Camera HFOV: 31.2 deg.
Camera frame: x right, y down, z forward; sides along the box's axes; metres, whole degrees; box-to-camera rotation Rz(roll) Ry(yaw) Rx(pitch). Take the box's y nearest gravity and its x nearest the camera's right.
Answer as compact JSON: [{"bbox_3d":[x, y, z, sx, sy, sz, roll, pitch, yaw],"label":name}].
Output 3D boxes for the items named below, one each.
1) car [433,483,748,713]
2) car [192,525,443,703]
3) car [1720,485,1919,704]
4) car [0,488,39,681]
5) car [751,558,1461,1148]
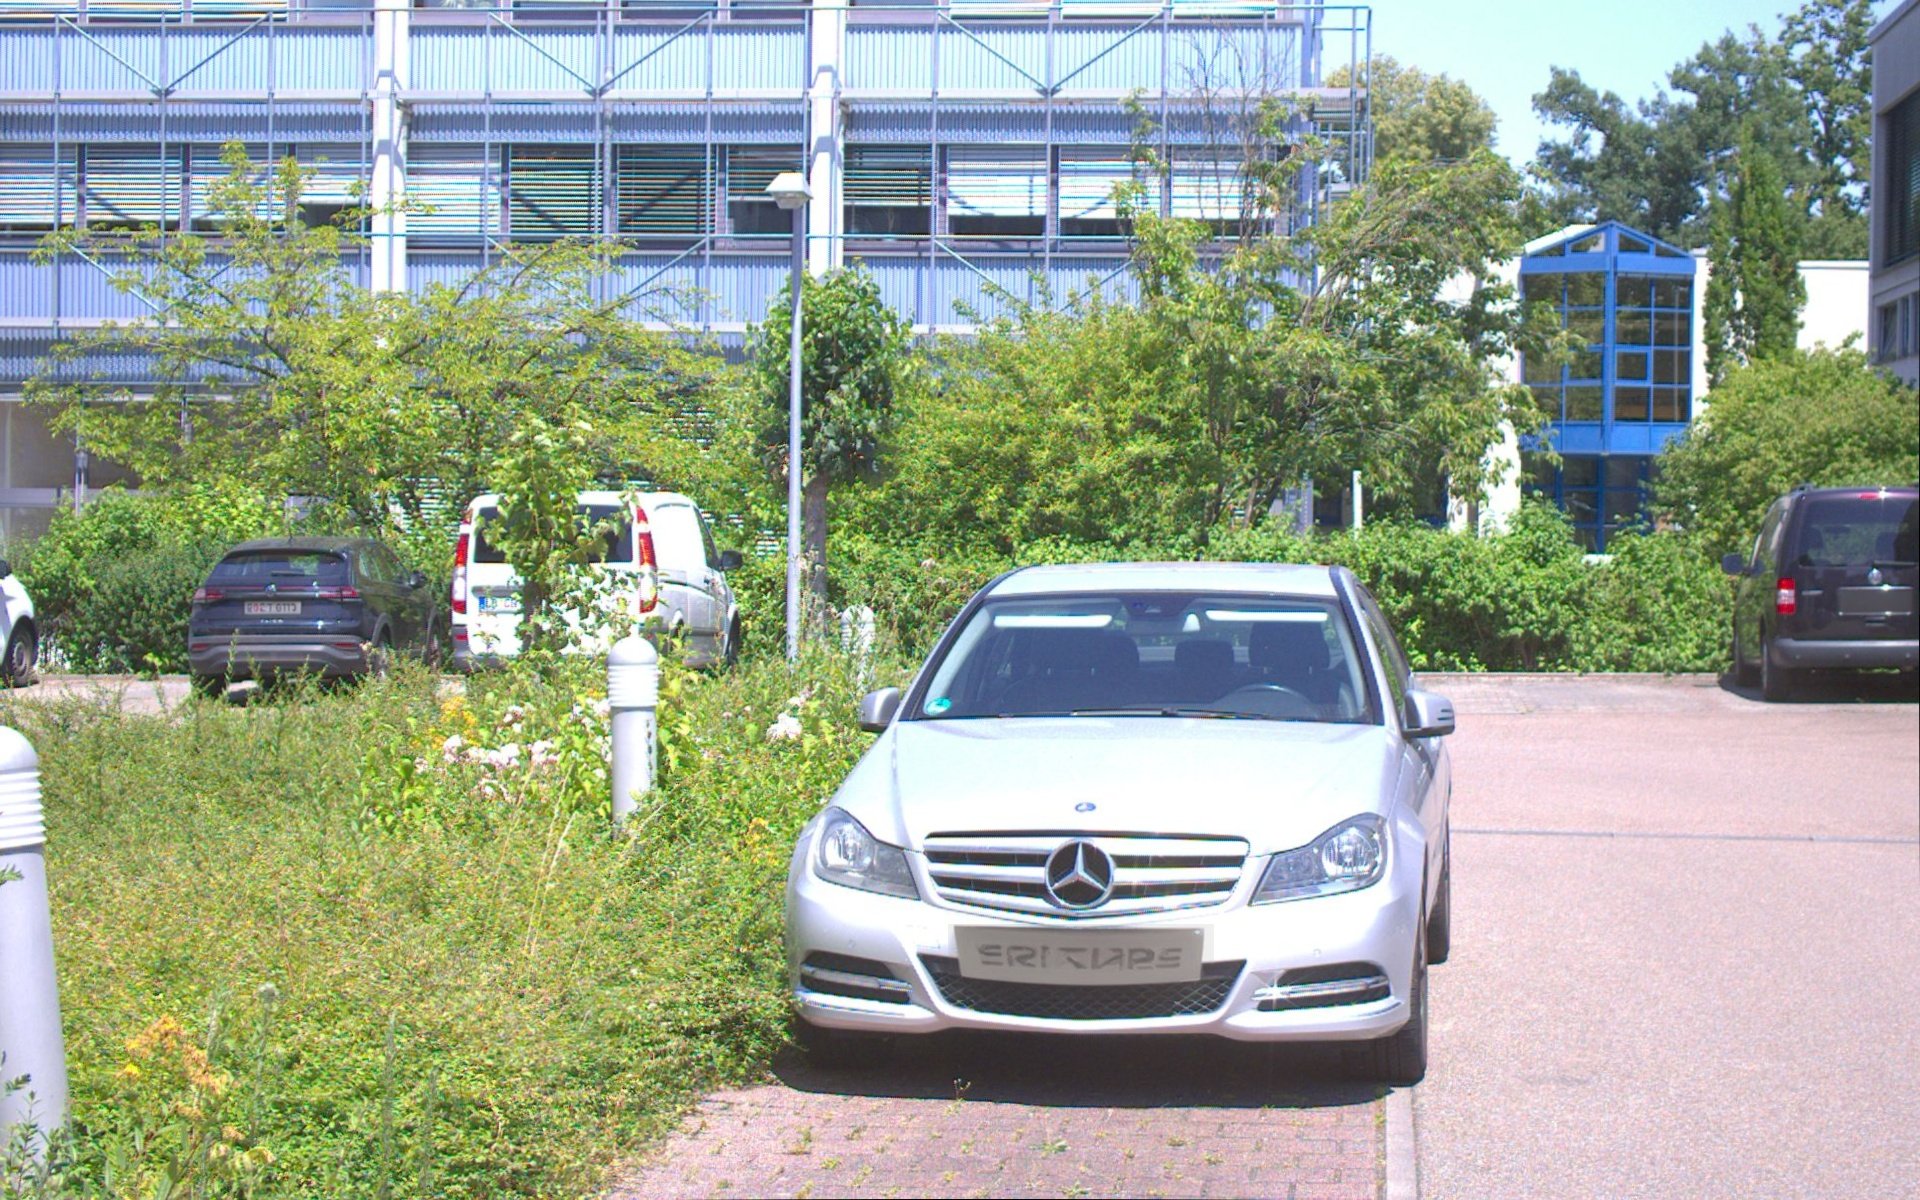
[{"bbox_3d":[-3.254,-0.096,31.280,1.913,1.898,4.807,0,2,5],"label":"car"},{"bbox_3d":[-5.938,0.081,32.174,1.754,1.471,4.001,-1,2,-3],"label":"car"},{"bbox_3d":[7.926,-0.104,30.830,1.743,1.830,3.999,0,2,6],"label":"car"},{"bbox_3d":[-10.499,-0.097,32.213,1.882,1.884,4.802,0,2,8],"label":"car"},{"bbox_3d":[0.657,0.615,10.832,1.730,1.452,4.146,0,1,9],"label":"car"}]
